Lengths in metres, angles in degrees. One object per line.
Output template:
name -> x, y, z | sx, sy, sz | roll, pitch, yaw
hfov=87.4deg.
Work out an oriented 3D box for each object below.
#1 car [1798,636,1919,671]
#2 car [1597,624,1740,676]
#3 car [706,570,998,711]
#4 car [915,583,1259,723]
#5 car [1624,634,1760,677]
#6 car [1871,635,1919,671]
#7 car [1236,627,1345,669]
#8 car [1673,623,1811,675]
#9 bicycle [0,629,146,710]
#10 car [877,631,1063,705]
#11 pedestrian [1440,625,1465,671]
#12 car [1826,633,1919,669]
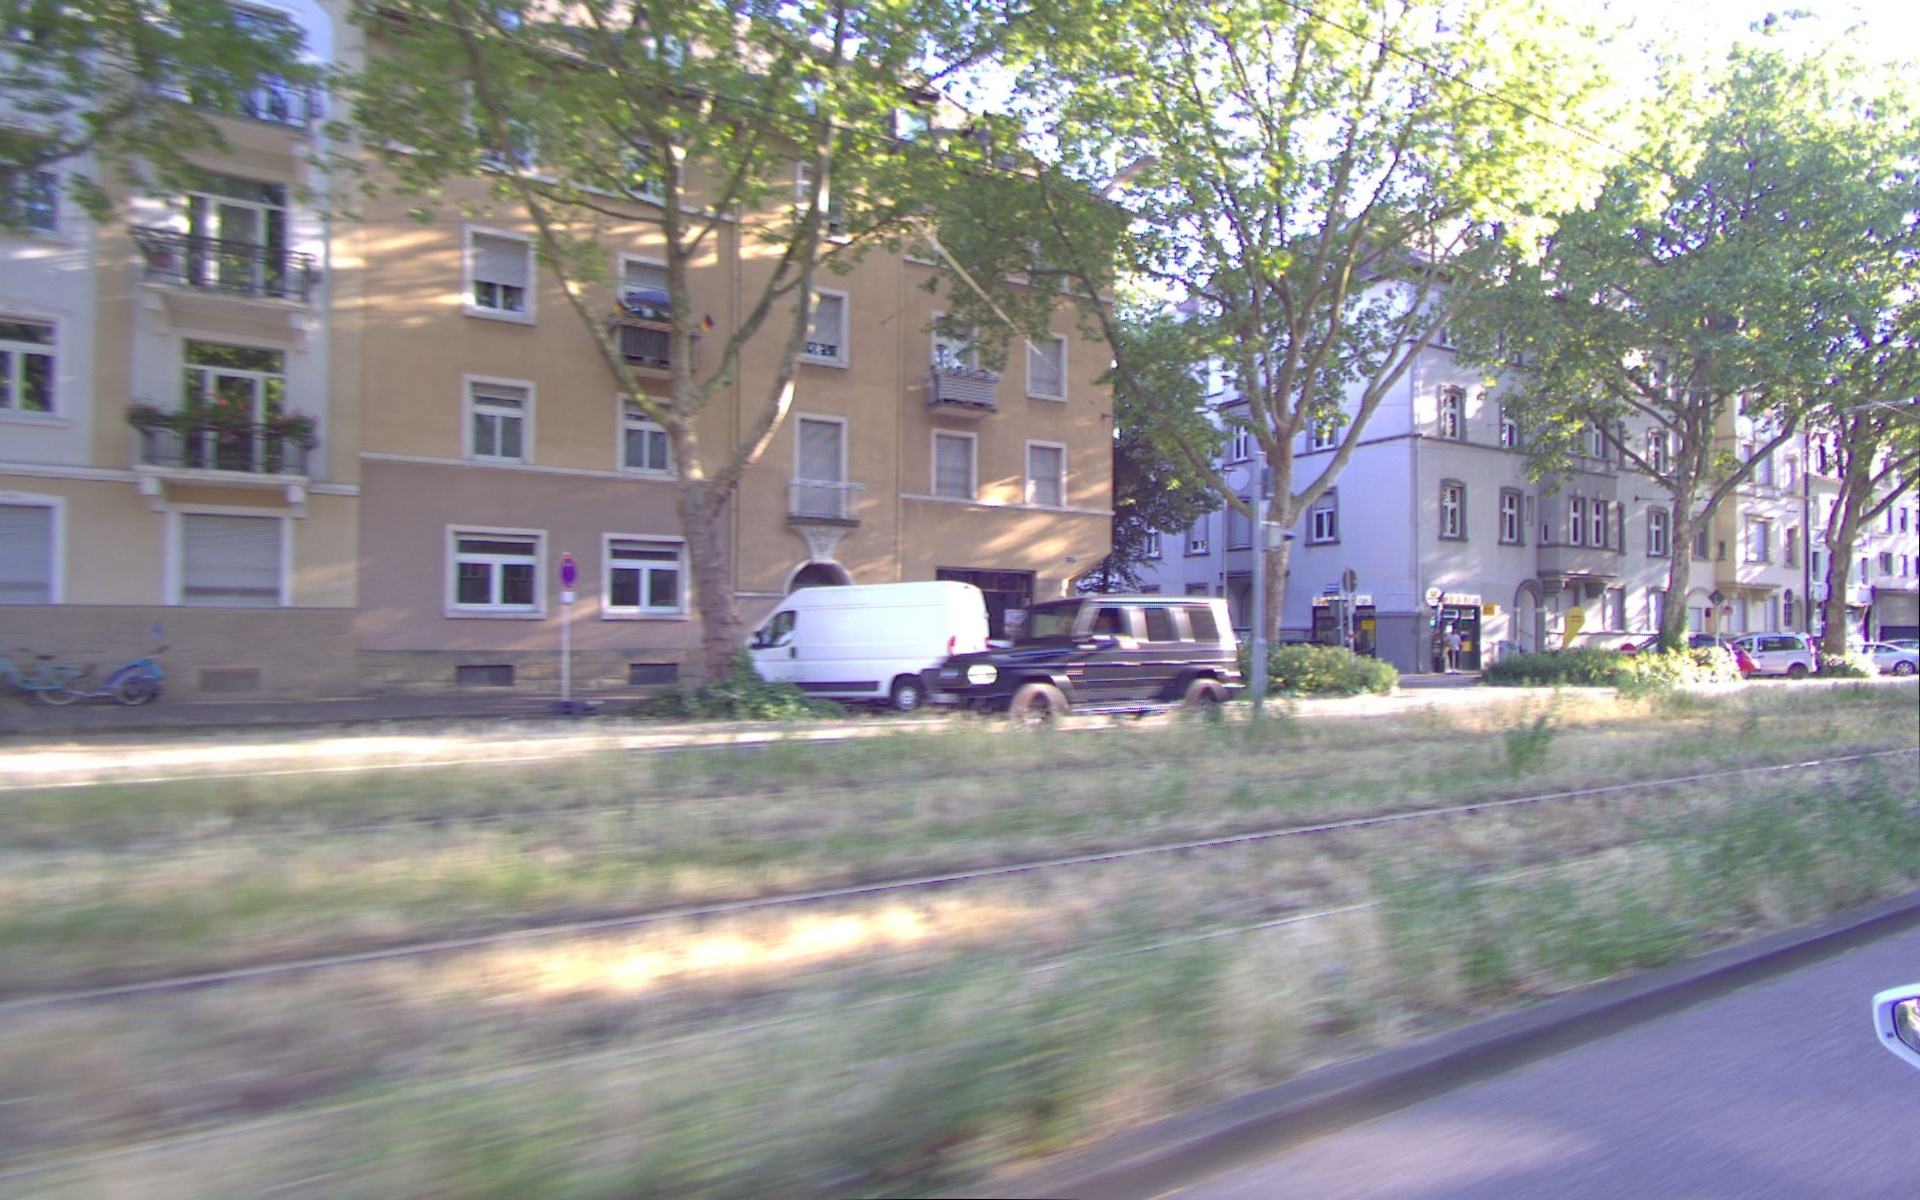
car -> 39.297, 2.323, 43.823 | 3.928, 1.374, 1.583 | 0, -2, 29
car -> 25.782, 1.802, 36.706 | 3.922, 1.746, 1.784 | 1, -2, 22
car -> -2.129, 0.750, 20.066 | 5.399, 2.562, 2.127 | 0, -1, 18
car -> 1.881, 0.750, 14.358 | 4.720, 1.716, 1.861 | 2, -2, -30
car -> 27.870, 2.089, 38.391 | 3.922, 1.467, 1.586 | 1, -2, 22
car -> 46.395, 2.521, 47.950 | 3.928, 1.721, 1.853 | -2, -3, 29
car -> 13.128, 1.888, 40.101 | 1.794, 1.528, 3.966 | 2, -2, -32
car -> 30.958, 1.911, 39.918 | 3.922, 1.906, 2.000 | 1, -2, 22
bicycle -> -16.743, 1.246, 18.237 | 2.925, 1.409, 0.738 | 1, -1, -30
car -> 0.236, 1.407, 21.516 | 3.636, 1.418, 1.737 | 0, -1, 18
pedestrian -> 19.361, 1.876, 39.486 | 0.663, 1.782, 0.625 | 1, -1, -25
car -> 43.210, 2.372, 46.824 | 3.929, 1.573, 1.853 | -3, -2, 29
